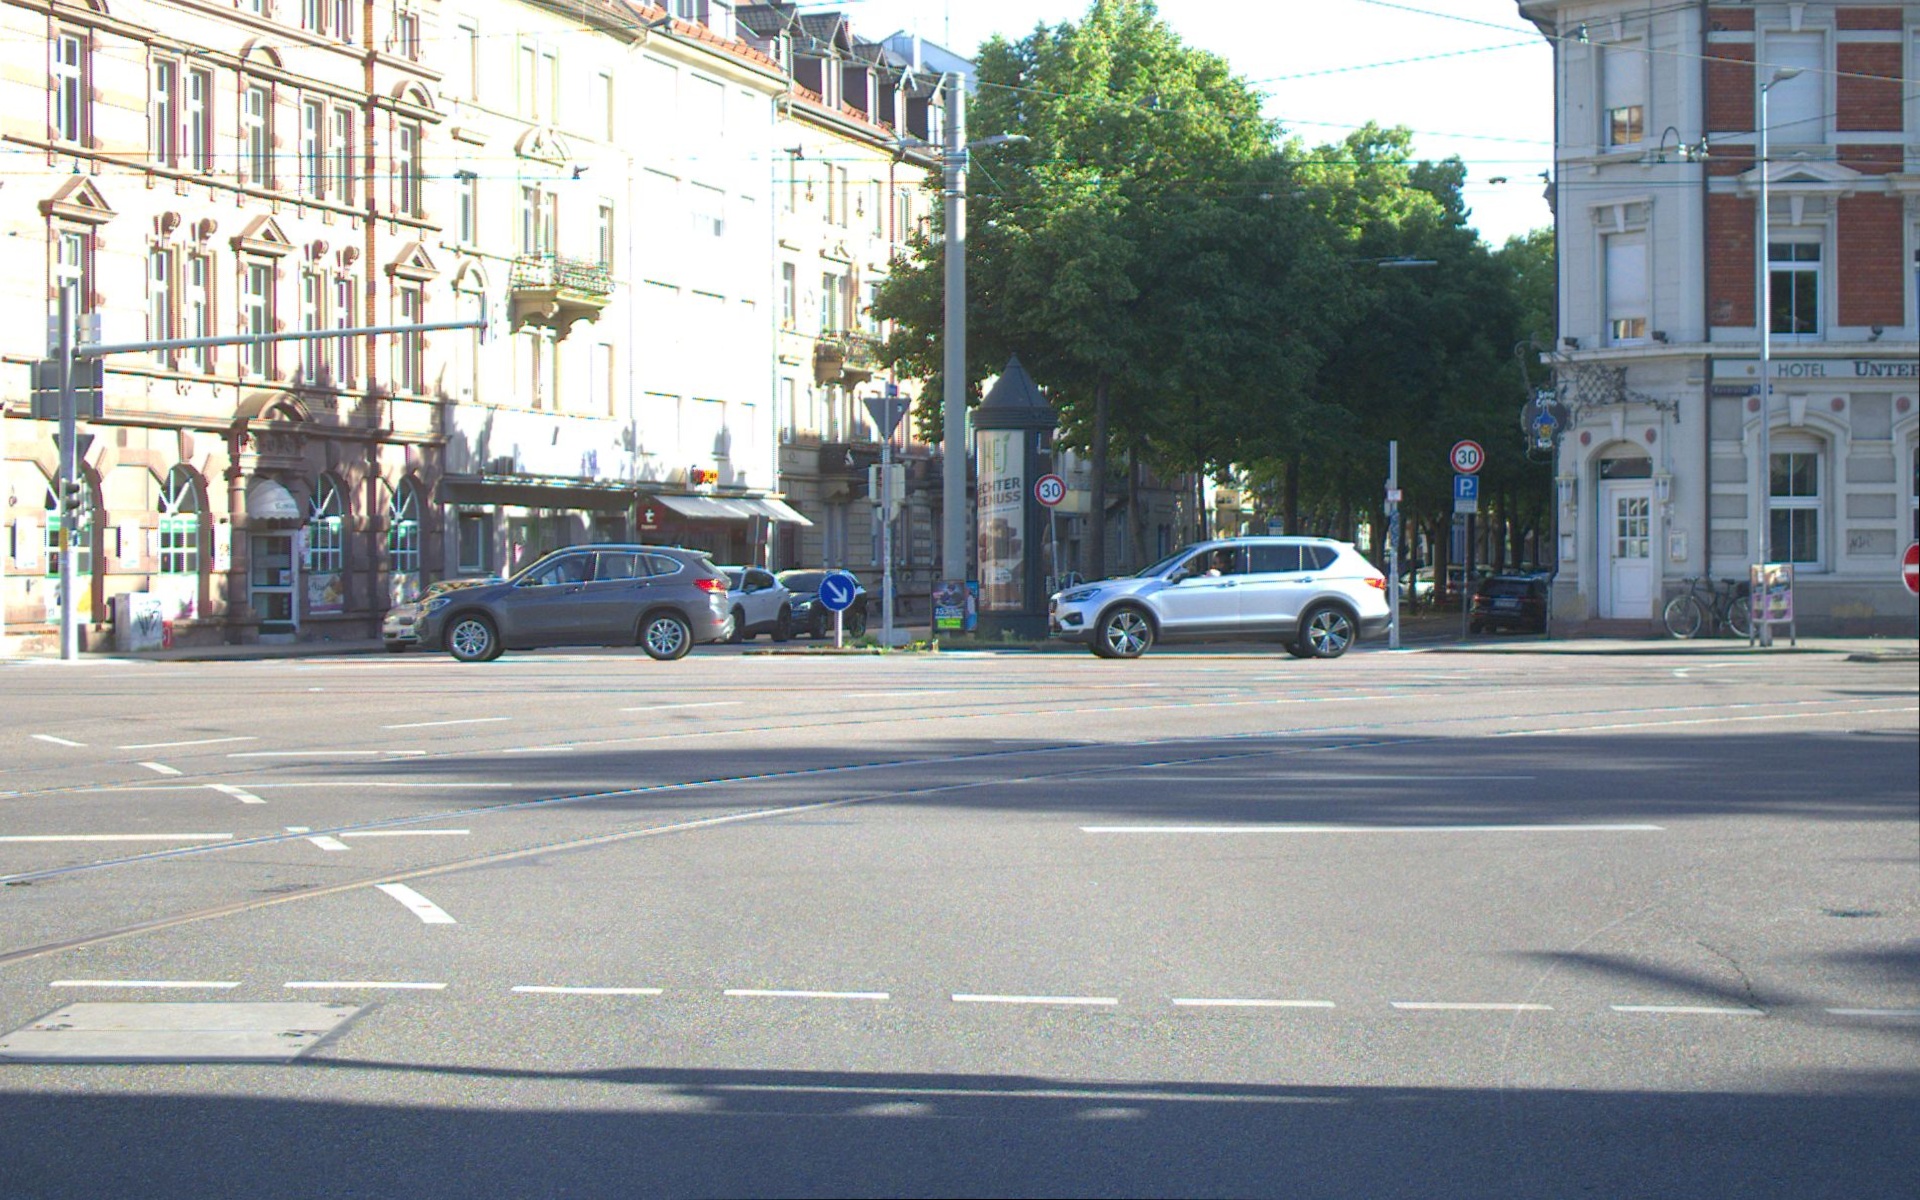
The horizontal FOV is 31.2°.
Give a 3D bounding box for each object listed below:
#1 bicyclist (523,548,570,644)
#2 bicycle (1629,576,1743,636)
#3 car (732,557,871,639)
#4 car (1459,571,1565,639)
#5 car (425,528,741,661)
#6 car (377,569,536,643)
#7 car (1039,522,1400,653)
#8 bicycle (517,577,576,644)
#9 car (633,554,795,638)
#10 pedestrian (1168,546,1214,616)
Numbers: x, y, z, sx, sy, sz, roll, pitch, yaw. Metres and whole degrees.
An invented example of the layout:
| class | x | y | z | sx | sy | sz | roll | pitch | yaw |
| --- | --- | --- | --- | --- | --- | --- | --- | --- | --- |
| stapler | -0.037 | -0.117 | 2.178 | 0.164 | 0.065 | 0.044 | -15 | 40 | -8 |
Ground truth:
| class | x | y | z | sx | sy | sz | roll | pitch | yaw |
| --- | --- | --- | --- | --- | --- | --- | --- | --- | --- |
| bicyclist | -7.837 | -0.076 | 65.171 | 0.565 | 1.797 | 0.913 | 1 | 0 | 15 |
| bicycle | 12.066 | 0.102 | 57.131 | 1.804 | 0.959 | 0.603 | 1 | 0 | 14 |
| car | -3.364 | -0.061 | 73.626 | 1.826 | 1.679 | 3.872 | 1 | 1 | 16 |
| car | 13.273 | 0.101 | 82.531 | 1.758 | 1.550 | 3.996 | 1 | 1 | 20 |
| car | -5.236 | -0.086 | 48.140 | 4.228 | 1.767 | 1.818 | 1 | 0 | -1 |
| car | -9.788 | 0.104 | 67.063 | 1.661 | 1.369 | 3.889 | 1 | 1 | 15 |
| car | 3.562 | -0.175 | 47.574 | 4.673 | 1.728 | 1.837 | 1 | 0 | -8 |
| bicycle | -7.833 | 0.192 | 65.166 | 0.565 | 1.250 | 1.556 | 1 | 1 | 14 |
| car | -4.771 | -0.089 | 67.268 | 1.804 | 1.579 | 4.156 | 1 | 1 | 17 |
| pedestrian | 6.723 | -0.552 | 100.122 | 0.961 | 2.007 | 0.918 | 1 | 0 | -32 |
